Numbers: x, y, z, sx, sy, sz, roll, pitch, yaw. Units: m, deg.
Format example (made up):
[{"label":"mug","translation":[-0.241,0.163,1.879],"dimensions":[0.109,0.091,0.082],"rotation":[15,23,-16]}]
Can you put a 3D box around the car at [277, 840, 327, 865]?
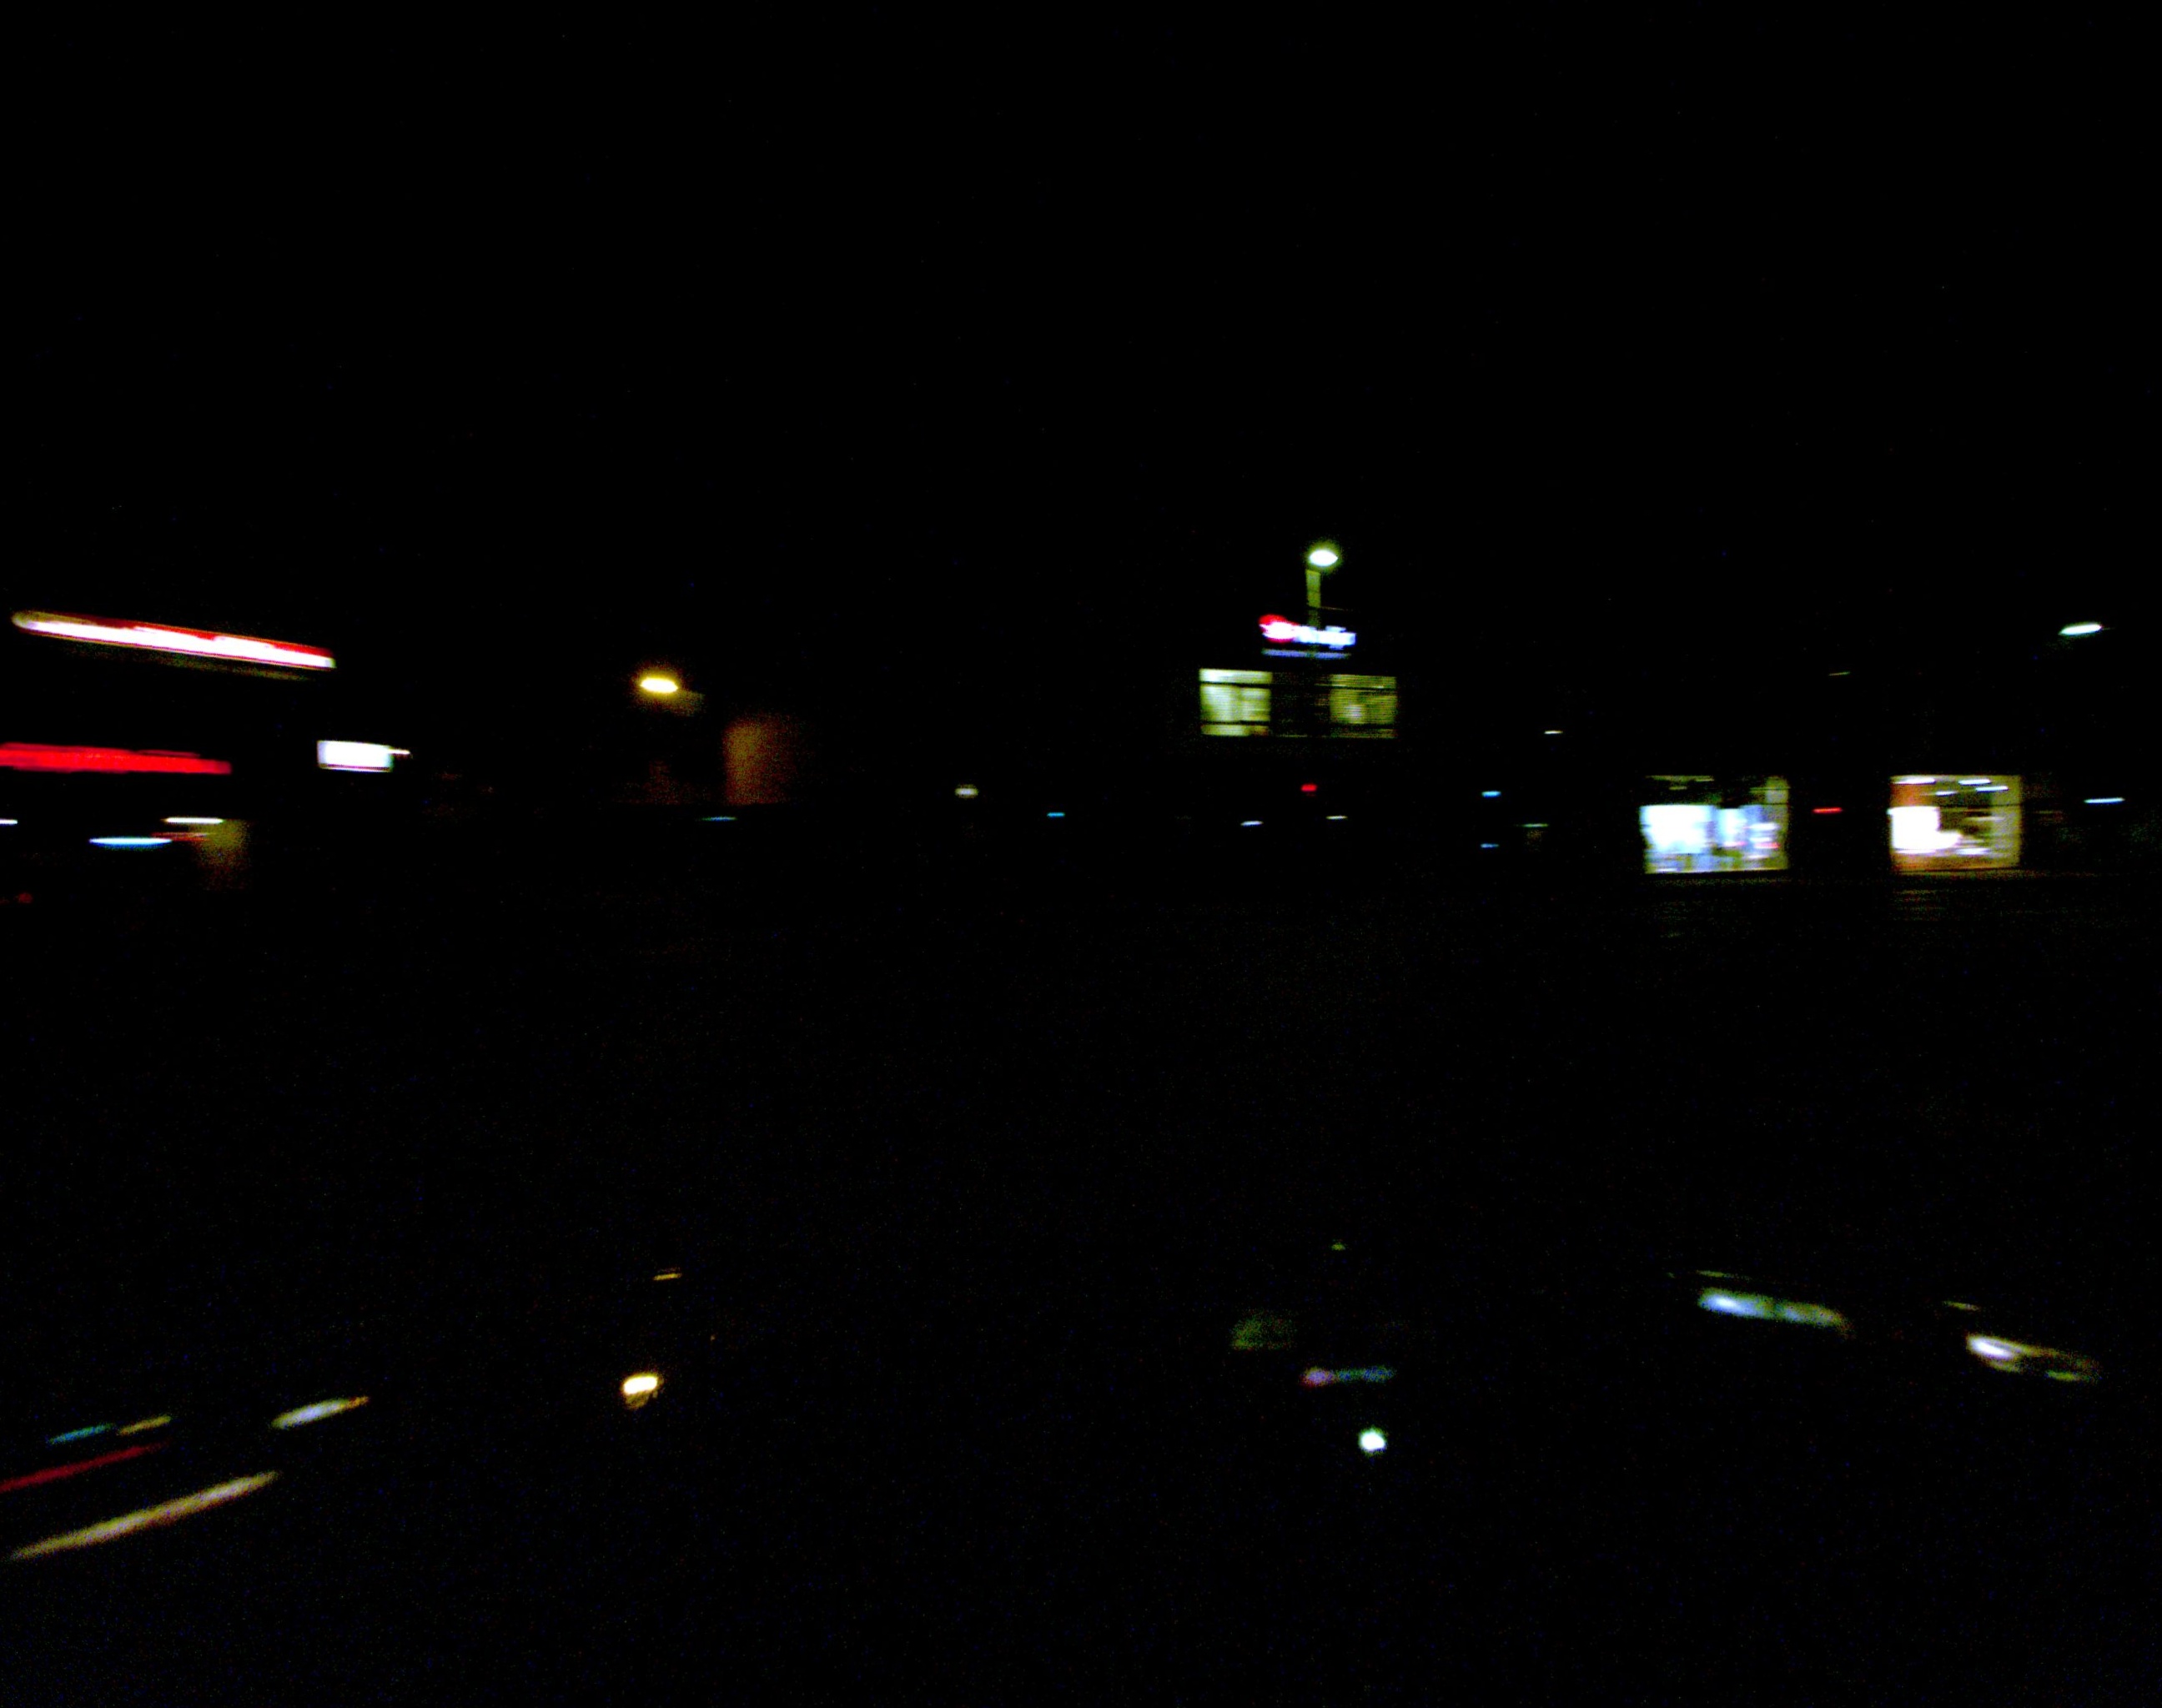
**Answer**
[{"label":"car","translation":[-59.063,-0.092,57.586],"dimensions":[3.989,1.739,2.004],"rotation":[-1,0,35]}]
